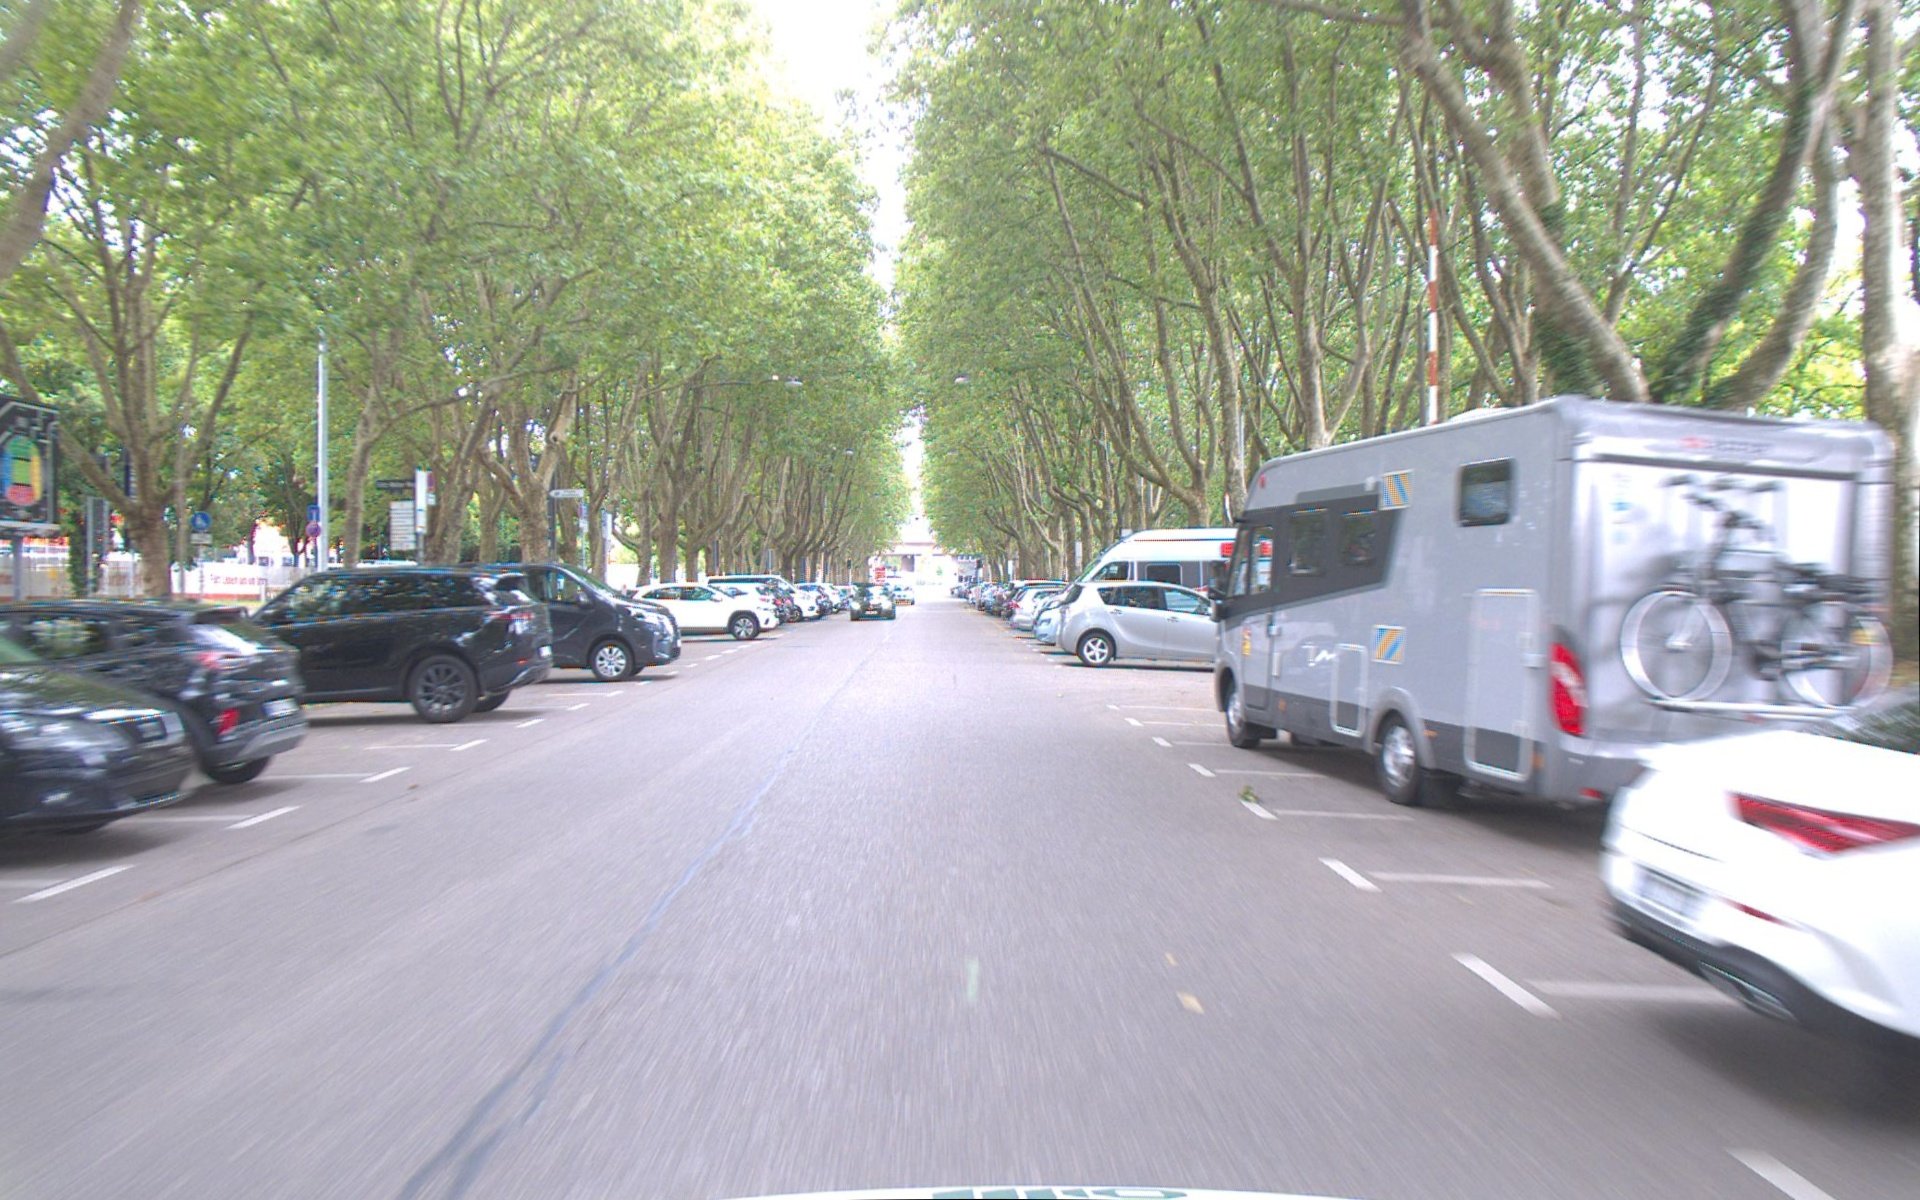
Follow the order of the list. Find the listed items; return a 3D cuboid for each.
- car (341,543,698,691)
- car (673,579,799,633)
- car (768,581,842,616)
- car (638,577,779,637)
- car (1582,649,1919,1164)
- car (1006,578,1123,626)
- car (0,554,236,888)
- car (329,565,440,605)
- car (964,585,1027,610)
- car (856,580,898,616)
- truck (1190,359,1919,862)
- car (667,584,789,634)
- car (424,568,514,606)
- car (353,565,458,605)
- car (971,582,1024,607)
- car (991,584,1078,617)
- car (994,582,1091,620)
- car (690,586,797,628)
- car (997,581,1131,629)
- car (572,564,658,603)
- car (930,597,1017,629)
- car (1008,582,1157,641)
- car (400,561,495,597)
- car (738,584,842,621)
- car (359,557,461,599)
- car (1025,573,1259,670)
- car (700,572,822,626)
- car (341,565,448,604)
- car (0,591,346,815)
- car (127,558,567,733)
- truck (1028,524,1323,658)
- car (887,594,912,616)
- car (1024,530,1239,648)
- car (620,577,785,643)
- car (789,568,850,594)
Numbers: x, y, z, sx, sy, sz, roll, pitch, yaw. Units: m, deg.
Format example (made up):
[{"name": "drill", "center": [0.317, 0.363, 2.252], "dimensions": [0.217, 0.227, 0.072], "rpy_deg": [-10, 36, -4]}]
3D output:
[{"name": "car", "center": [-7.184, 0.245, 27.431], "dimensions": [5.327, 2.165, 1.939], "rpy_deg": [-2, 1, -3]}, {"name": "car", "center": [-7.970, 0.208, 59.127], "dimensions": [4.254, 1.696, 1.999], "rpy_deg": [-3, 1, -3]}, {"name": "car", "center": [-8.022, -0.082, 85.925], "dimensions": [3.751, 1.656, 1.951], "rpy_deg": [-2, 1, -4]}, {"name": "car", "center": [-8.118, 0.213, 53.617], "dimensions": [4.254, 1.696, 1.999], "rpy_deg": [-3, 1, -3]}, {"name": "car", "center": [4.453, 0.888, 5.357], "dimensions": [4.232, 1.324, 1.700], "rpy_deg": [1, 0, -1]}, {"name": "car", "center": [4.002, 0.069, 63.875], "dimensions": [4.297, 1.786, 1.800], "rpy_deg": [1, 0, -3]}, {"name": "car", "center": [-7.042, 0.714, 9.961], "dimensions": [4.485, 1.812, 1.798], "rpy_deg": [-2, 1, 0]}, {"name": "car", "center": [-34.500, -0.915, 99.215], "dimensions": [5.880, 2.292, 2.000], "rpy_deg": [1, 0, -2]}, {"name": "car", "center": [2.354, -0.168, 111.241], "dimensions": [4.085, 1.624, 1.853], "rpy_deg": [1, 0, -5]}, {"name": "car", "center": [-3.504, -0.089, 69.456], "dimensions": [1.622, 1.387, 4.108], "rpy_deg": [-3, 1, -4]}, {"name": "truck", "center": [4.209, 0.034, 13.740], "dimensions": [2.413, 2.989, 7.522], "rpy_deg": [1, 0, -9]}, {"name": "car", "center": [-7.900, 0.285, 56.499], "dimensions": [3.908, 1.501, 1.842], "rpy_deg": [-3, 1, -3]}, {"name": "car", "center": [-35.288, -0.934, 119.002], "dimensions": [5.880, 2.571, 2.000], "rpy_deg": [1, 0, -2]}, {"name": "car", "center": [-34.919, -0.943, 104.296], "dimensions": [5.880, 2.358, 2.000], "rpy_deg": [1, 0, -2]}, {"name": "car", "center": [2.615, -0.421, 116.643], "dimensions": [3.574, 1.696, 1.518], "rpy_deg": [1, 0, -5]}, {"name": "car", "center": [3.331, 0.023, 74.241], "dimensions": [3.750, 1.413, 1.693], "rpy_deg": [1, 0, -3]}, {"name": "car", "center": [3.410, 0.024, 68.925], "dimensions": [3.907, 1.512, 1.693], "rpy_deg": [1, 0, -3]}, {"name": "car", "center": [-8.314, 0.254, 63.664], "dimensions": [3.908, 1.437, 1.682], "rpy_deg": [-3, 1, -3]}, {"name": "car", "center": [3.558, 0.151, 56.841], "dimensions": [4.412, 1.552, 1.702], "rpy_deg": [1, 0, -3]}, {"name": "car", "center": [-24.822, -1.186, 119.129], "dimensions": [5.668, 2.642, 2.000], "rpy_deg": [1, 0, -1]}, {"name": "car", "center": [0.650, 0.638, 80.180], "dimensions": [4.127, 1.476, 1.610], "rpy_deg": [1, 0, -3]}, {"name": "car", "center": [3.411, 0.317, 46.598], "dimensions": [4.035, 1.454, 1.703], "rpy_deg": [3, 0, 1]}, {"name": "car", "center": [-35.197, -1.416, 113.655], "dimensions": [5.880, 2.370, 2.000], "rpy_deg": [1, 0, -2]}, {"name": "car", "center": [-7.547, 0.095, 73.736], "dimensions": [4.355, 1.478, 1.775], "rpy_deg": [-2, 0, 3]}, {"name": "car", "center": [-35.529, -1.401, 106.900], "dimensions": [5.880, 2.571, 2.000], "rpy_deg": [1, 0, -2]}, {"name": "car", "center": [3.382, 0.381, 31.433], "dimensions": [4.250, 1.646, 1.804], "rpy_deg": [2, 0, 2]}, {"name": "car", "center": [-8.226, -0.040, 68.552], "dimensions": [4.795, 2.054, 1.919], "rpy_deg": [-2, 0, -2]}, {"name": "car", "center": [-34.663, -0.971, 101.506], "dimensions": [5.880, 2.292, 2.000], "rpy_deg": [1, 0, -2]}, {"name": "car", "center": [-6.990, 0.773, 12.714], "dimensions": [3.816, 1.520, 1.754], "rpy_deg": [-2, 0, 1]}, {"name": "car", "center": [-7.244, 0.507, 19.898], "dimensions": [4.560, 1.852, 1.805], "rpy_deg": [-2, 1, -2]}, {"name": "truck", "center": [4.649, -0.203, 36.340], "dimensions": [6.166, 2.762, 2.097], "rpy_deg": [1, 0, -2]}, {"name": "car", "center": [-4.301, 0.350, 116.929], "dimensions": [1.655, 1.497, 3.838], "rpy_deg": [-2, 1, -3]}, {"name": "car", "center": [4.228, -0.277, 41.451], "dimensions": [5.122, 2.736, 1.957], "rpy_deg": [1, 0, -1]}, {"name": "car", "center": [-7.076, 0.259, 45.825], "dimensions": [4.292, 1.624, 1.999], "rpy_deg": [-2, 1, -3]}, {"name": "car", "center": [-8.742, -1.193, 103.282], "dimensions": [3.751, 1.454, 1.693], "rpy_deg": [-2, 1, -4]}]
